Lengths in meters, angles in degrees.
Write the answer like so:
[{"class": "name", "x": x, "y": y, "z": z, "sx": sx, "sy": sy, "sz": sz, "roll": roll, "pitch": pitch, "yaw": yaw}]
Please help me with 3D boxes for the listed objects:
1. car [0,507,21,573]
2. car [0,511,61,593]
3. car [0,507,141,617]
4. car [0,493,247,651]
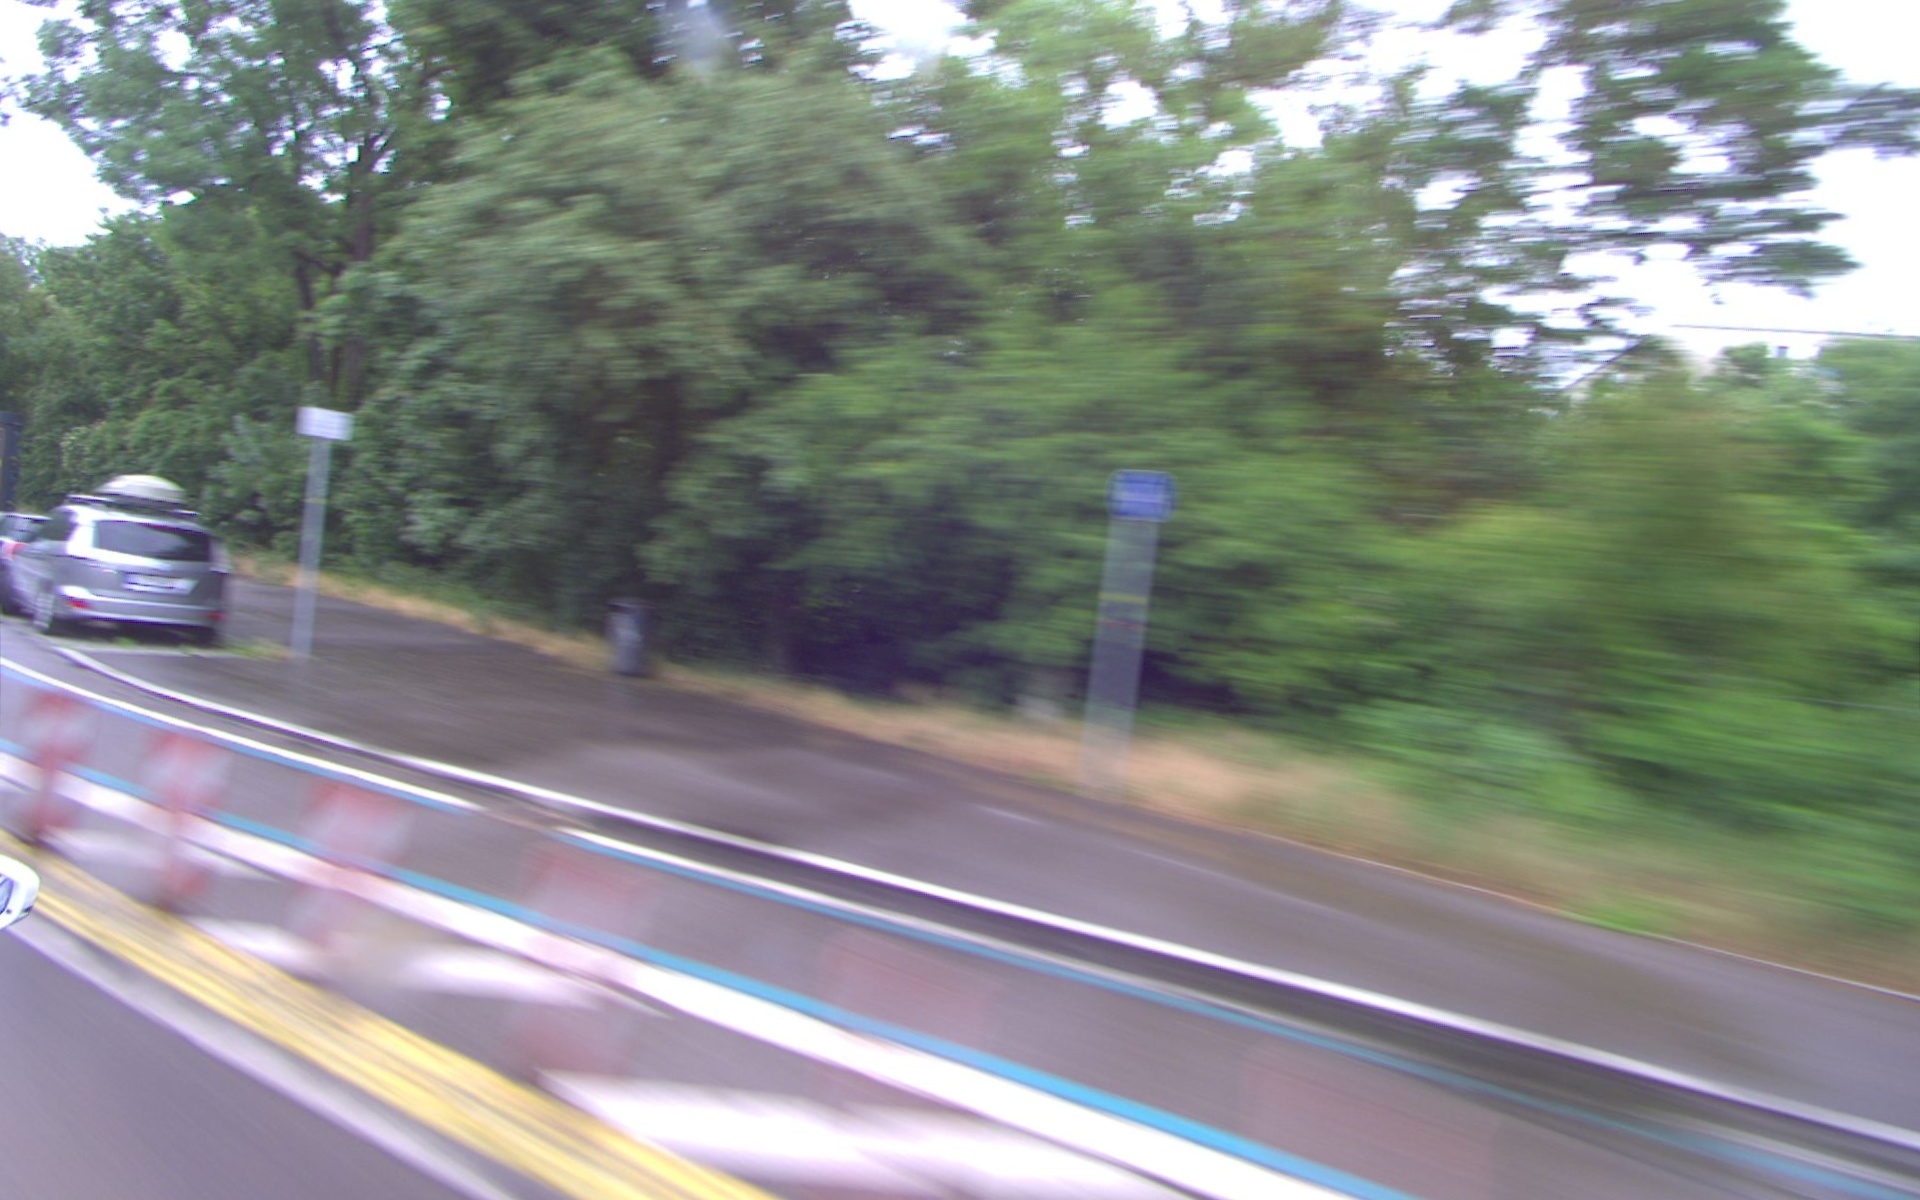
[{"class": "car", "x": -24.186, "y": -1.636, "z": 24.116, "sx": 4.684, "sy": 1.472, "sz": 1.855, "roll": 6, "pitch": -3, "yaw": 41}, {"class": "car", "x": -19.449, "y": -1.105, "z": 19.747, "sx": 4.320, "sy": 1.414, "sz": 1.854, "roll": 6, "pitch": -3, "yaw": 38}, {"class": "car", "x": -15.151, "y": -0.680, "z": 16.548, "sx": 3.649, "sy": 1.428, "sz": 1.698, "roll": 6, "pitch": -4, "yaw": 38}, {"class": "car", "x": -11.368, "y": -0.422, "z": 13.382, "sx": 4.189, "sy": 1.633, "sz": 1.822, "roll": 6, "pitch": -2, "yaw": 38}]
